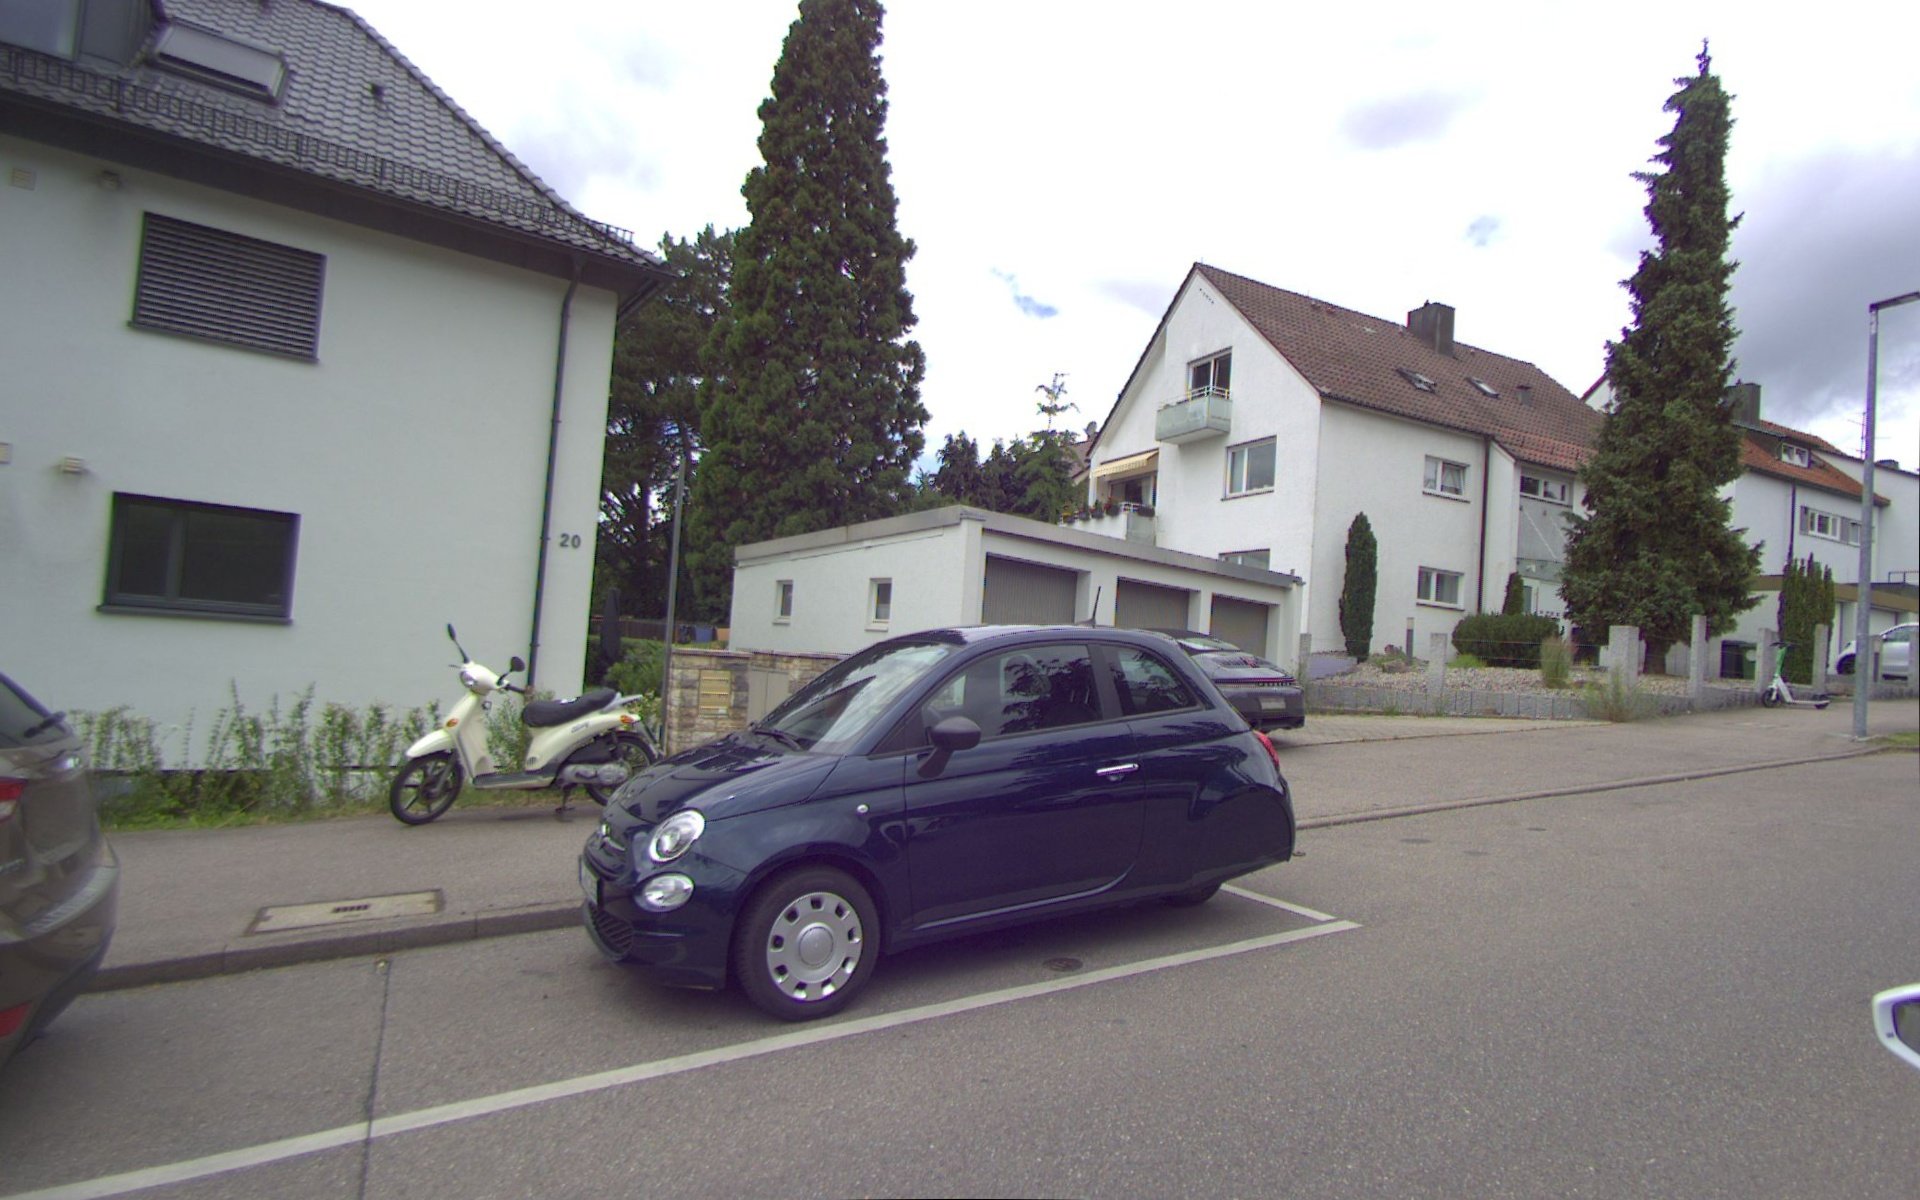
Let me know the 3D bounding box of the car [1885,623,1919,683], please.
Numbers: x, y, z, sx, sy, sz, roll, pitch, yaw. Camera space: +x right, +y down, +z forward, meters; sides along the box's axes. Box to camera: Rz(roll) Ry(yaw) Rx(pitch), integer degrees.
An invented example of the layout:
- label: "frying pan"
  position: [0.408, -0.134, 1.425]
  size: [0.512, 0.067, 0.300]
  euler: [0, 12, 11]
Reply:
- label: "car"
  position: [26.146, 1.469, 25.568]
  size: [1.671, 1.532, 3.416]
  euler: [3, 1, -27]

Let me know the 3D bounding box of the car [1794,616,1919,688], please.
- label: "car"
  position: [23.192, 1.296, 24.954]
  size: [1.636, 1.599, 3.416]
  euler: [3, 1, -27]

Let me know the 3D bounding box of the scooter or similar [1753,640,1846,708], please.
- label: "scooter or similar"
  position: [14.889, 1.312, 17.818]
  size: [1.429, 1.164, 0.474]
  euler: [1, 1, -13]

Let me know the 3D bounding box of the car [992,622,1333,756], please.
- label: "car"
  position: [2.422, 1.007, 13.026]
  size: [1.885, 1.386, 4.259]
  euler: [1, -1, -34]

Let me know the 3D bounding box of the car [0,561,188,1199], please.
- label: "car"
  position: [-4.408, 0.672, 2.351]
  size: [3.825, 1.606, 1.869]
  euler: [2, -1, -29]

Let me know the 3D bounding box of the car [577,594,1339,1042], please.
- label: "car"
  position: [0.004, 0.815, 5.172]
  size: [3.465, 1.557, 1.869]
  euler: [2, -1, -29]

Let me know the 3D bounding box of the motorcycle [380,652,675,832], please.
- label: "motorcycle"
  position: [-3.024, 0.981, 7.164]
  size: [1.835, 1.176, 0.428]
  euler: [3, -2, -22]
